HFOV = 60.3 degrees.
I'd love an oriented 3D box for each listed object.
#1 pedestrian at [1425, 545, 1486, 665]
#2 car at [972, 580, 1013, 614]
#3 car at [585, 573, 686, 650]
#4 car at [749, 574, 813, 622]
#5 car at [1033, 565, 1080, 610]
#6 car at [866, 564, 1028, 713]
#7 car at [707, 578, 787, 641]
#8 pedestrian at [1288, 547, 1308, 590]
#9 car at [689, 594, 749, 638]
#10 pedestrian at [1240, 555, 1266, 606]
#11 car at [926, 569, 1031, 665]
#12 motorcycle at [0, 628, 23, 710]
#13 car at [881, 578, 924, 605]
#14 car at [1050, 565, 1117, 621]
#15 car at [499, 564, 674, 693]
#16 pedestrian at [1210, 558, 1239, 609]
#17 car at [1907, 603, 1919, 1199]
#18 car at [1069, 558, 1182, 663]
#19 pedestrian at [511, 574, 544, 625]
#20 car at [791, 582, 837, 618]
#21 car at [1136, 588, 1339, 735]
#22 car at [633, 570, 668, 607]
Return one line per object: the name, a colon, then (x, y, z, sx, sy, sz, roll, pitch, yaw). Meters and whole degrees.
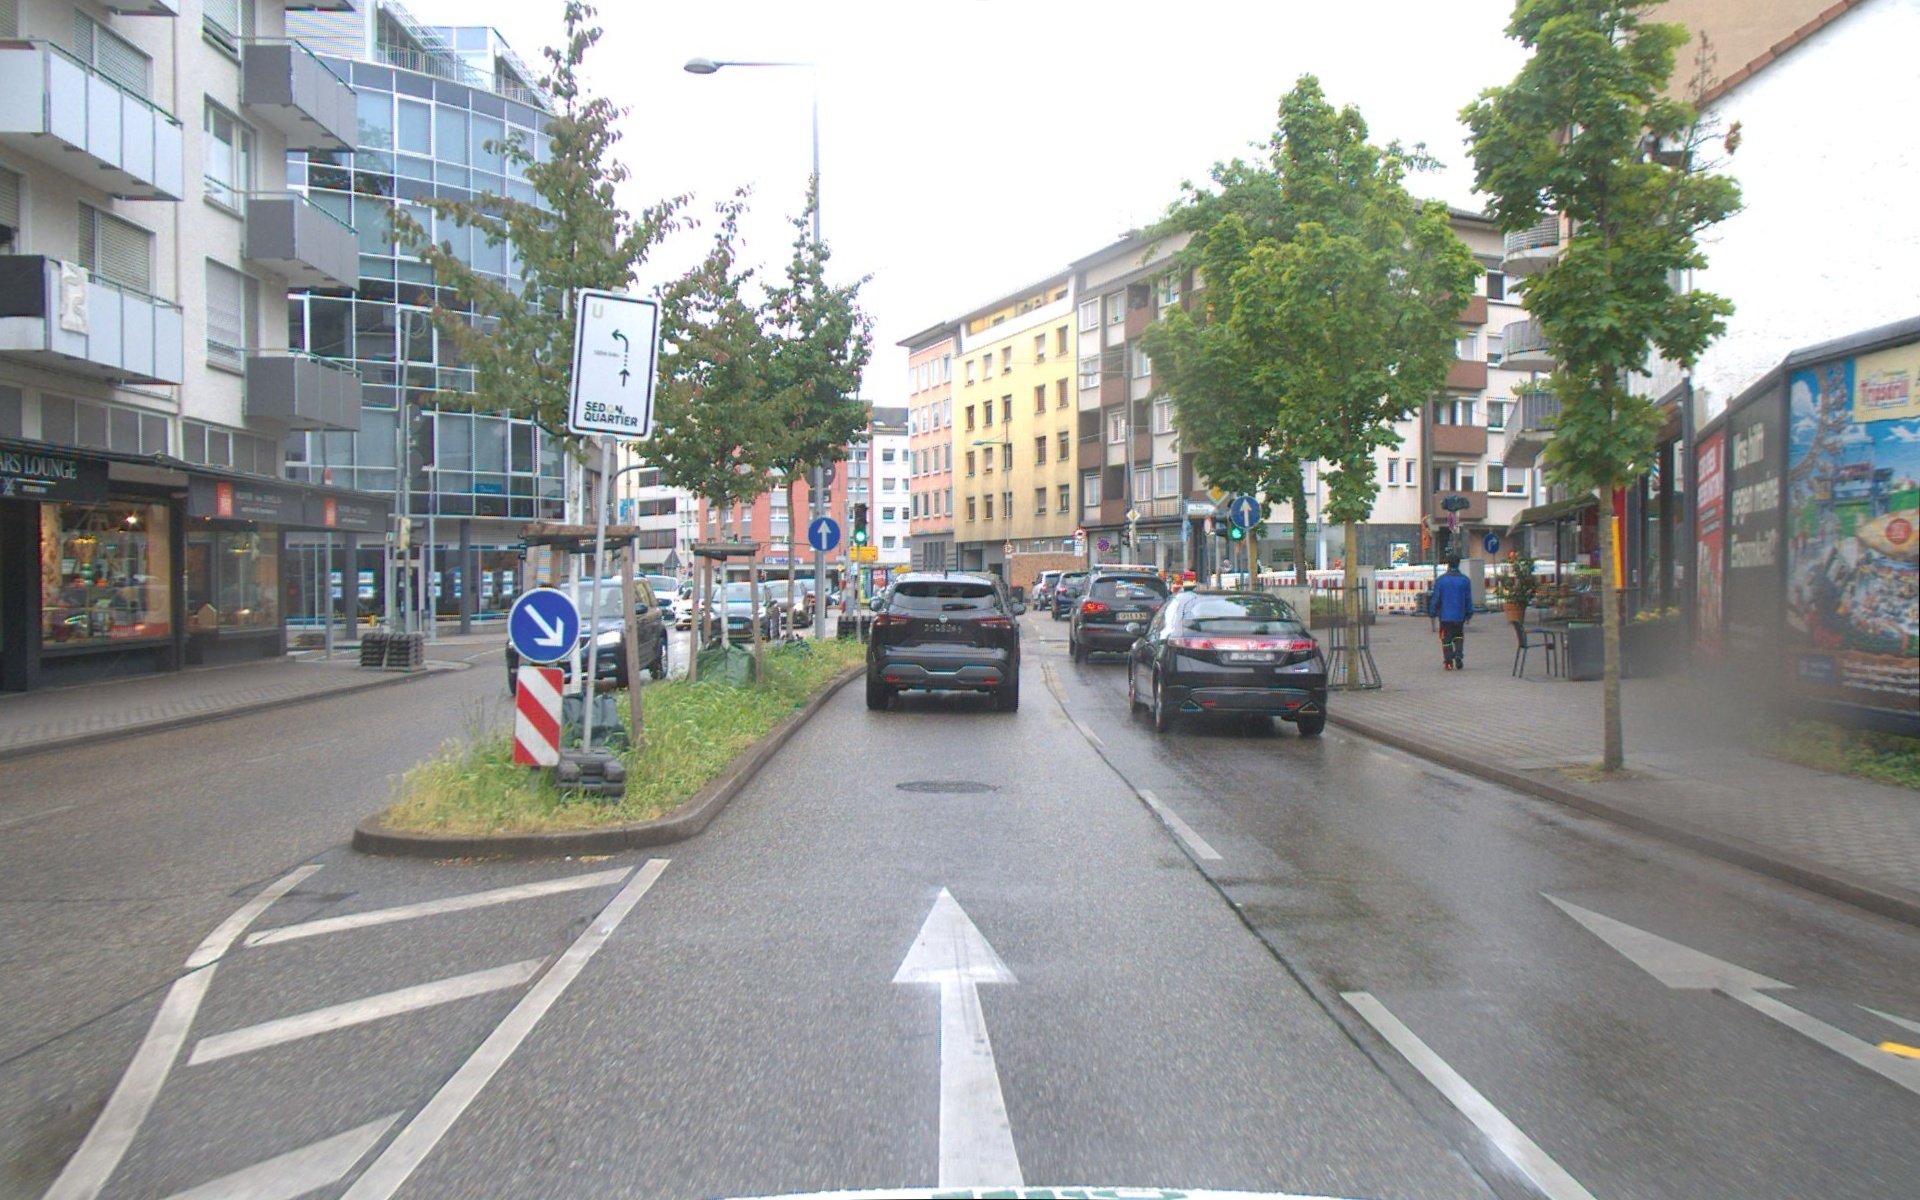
pedestrian: (7.629, 0.071, 25.473, 0.774, 1.786, 0.872, -2, 0, 12)
car: (1.680, -0.165, 86.087, 1.675, 1.639, 3.724, 1, 1, -5)
car: (-7.551, 0.239, 38.809, 1.599, 1.619, 3.936, -3, 1, -1)
car: (-5.574, -0.083, 51.819, 1.637, 1.393, 3.752, -2, 1, -2)
car: (3.871, -0.514, 66.920, 1.792, 1.713, 3.720, 1, 2, 2)
car: (-0.158, 0.413, 20.428, 1.786, 1.628, 3.718, 1, 1, -1)
car: (-5.302, 0.206, 41.550, 1.502, 1.437, 3.936, -3, 1, -1)
pedestrian: (14.203, -1.335, 69.547, 0.523, 1.800, 0.616, 1, 1, -31)
car: (-7.958, 0.511, 54.797, 1.518, 1.312, 3.347, -2, 1, -2)
pedestrian: (11.874, -0.807, 67.057, 0.805, 2.048, 0.839, 1, 1, -3)
car: (0.307, 0.280, 30.573, 1.786, 1.628, 3.718, 1, 1, -1)
motorcycle: (-12.218, 0.871, 20.026, 0.515, 1.013, 2.136, 1, 1, 0)
car: (-3.095, -0.461, 88.229, 1.613, 1.368, 3.336, -2, 1, -14)
car: (3.794, -0.251, 51.287, 1.793, 1.589, 3.719, 1, 2, 0)
car: (-5.446, 0.368, 24.608, 1.649, 1.690, 4.096, -3, 1, -1)
pedestrian: (10.783, -0.669, 67.366, 0.809, 2.048, 0.835, 1, 1, -20)
car: (2.843, 0.745, 1.543, 1.631, 1.420, 3.866, -2, 2, -1)
car: (3.088, 0.148, 31.518, 1.793, 1.837, 3.719, 1, 2, 0)
pedestrian: (-13.893, -0.021, 53.143, 0.775, 1.618, 0.753, -2, 1, -38)
car: (-5.813, -0.017, 66.017, 1.608, 1.344, 3.347, -2, 1, -2)
car: (2.921, 0.590, 18.102, 1.749, 1.424, 3.720, 0, 1, 2)
car: (-14.029, -0.512, 75.056, 1.522, 1.598, 3.340, 1, 0, -10)
